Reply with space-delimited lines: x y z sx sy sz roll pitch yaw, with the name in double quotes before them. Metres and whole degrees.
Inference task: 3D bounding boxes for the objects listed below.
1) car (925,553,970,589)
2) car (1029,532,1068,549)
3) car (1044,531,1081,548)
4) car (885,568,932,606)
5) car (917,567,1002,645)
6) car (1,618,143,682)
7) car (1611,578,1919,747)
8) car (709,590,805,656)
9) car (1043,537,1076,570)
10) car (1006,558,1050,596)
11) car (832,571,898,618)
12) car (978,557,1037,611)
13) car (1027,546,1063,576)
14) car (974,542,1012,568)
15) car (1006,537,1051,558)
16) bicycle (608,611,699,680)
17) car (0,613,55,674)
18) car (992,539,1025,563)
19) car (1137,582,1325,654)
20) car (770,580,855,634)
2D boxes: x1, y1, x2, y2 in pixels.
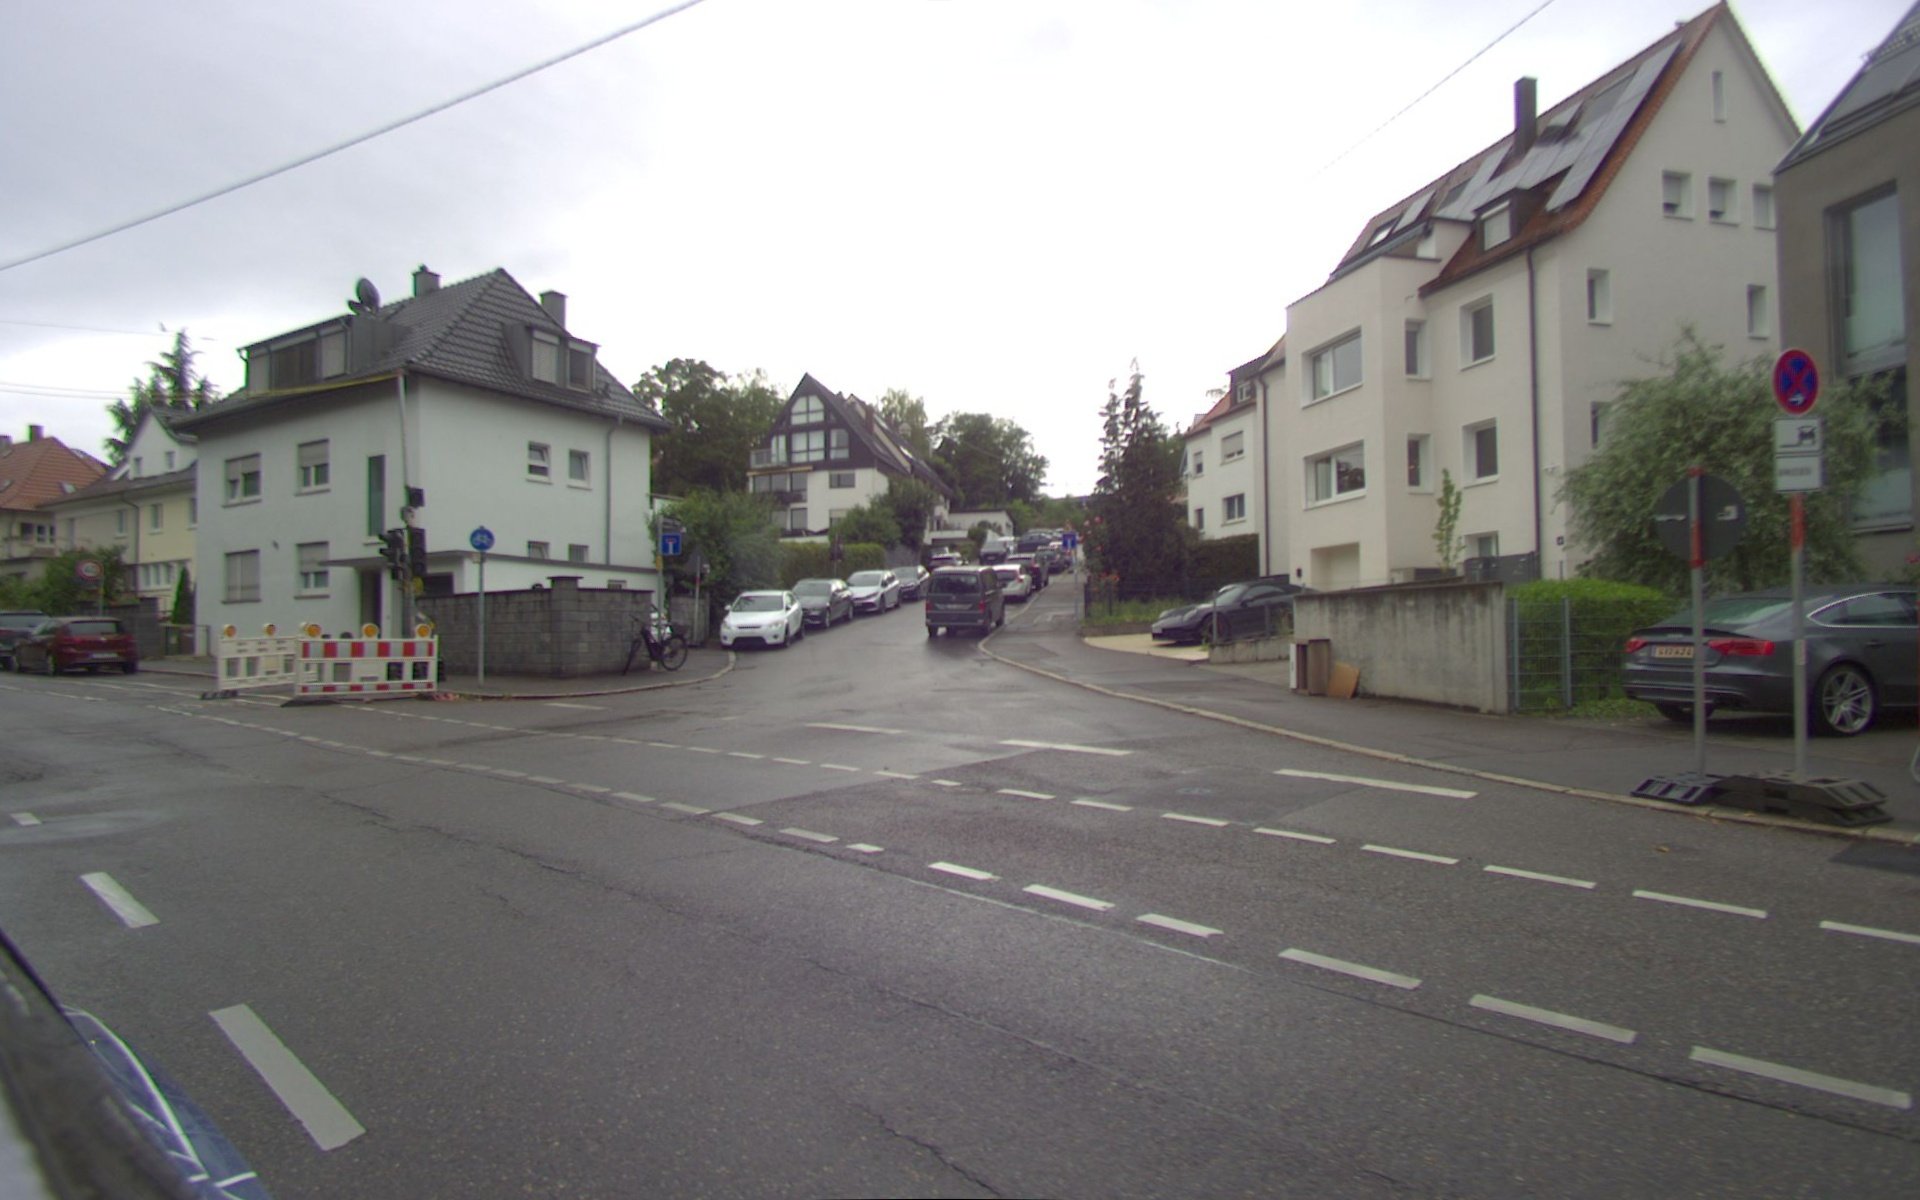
"car" -0.642 -1.573 54.233 1.324 1.566 3.968 -1 6 15
"car" 8.791 -5.912 100.285 3.491 1.510 1.614 -1 6 18
"car" 10.676 -6.279 105.238 3.494 1.510 1.613 -1 6 20
"car" -2.218 -0.606 44.485 1.321 1.400 3.495 -1 5 9
"car" 0.059 0.121 30.804 1.894 1.950 3.787 -2 5 10
"car" -22.828 1.297 25.994 3.787 1.505 1.876 -3 -3 35
"car" 8.932 0.512 9.961 4.194 1.378 1.617 -3 -1 -10
"car" -5.484 0.578 27.760 1.727 1.476 3.559 -2 3 2
"car" 6.361 -2.959 64.338 1.678 1.871 3.550 -1 5 11
"car" 3.183 -1.097 46.787 1.566 1.479 3.550 -1 5 11
"car" -3.575 -0.248 38.681 1.565 1.476 3.845 -1 5 9
"car" 1.996 -0.691 41.548 1.901 1.850 3.403 -2 5 11
"car" 5.048 -2.317 59.891 1.678 1.479 3.550 -1 5 11
"car" 2.332 -3.170 70.487 1.721 1.510 3.815 -1 6 15
"car" 5.784 -4.419 85.352 3.574 1.510 1.577 -2 5 9
"bicycle" -6.214 0.899 20.600 0.706 1.321 1.712 -1 0 35
"car" -27.182 1.271 28.466 3.995 1.601 1.651 -3 -1 35
"car" 3.738 -3.777 77.731 1.721 1.510 3.815 -1 6 15
"car" 6.256 0.385 23.492 3.858 1.342 1.572 -4 1 -14
"car" -4.827 0.190 33.679 1.685 1.476 3.845 -2 3 9
